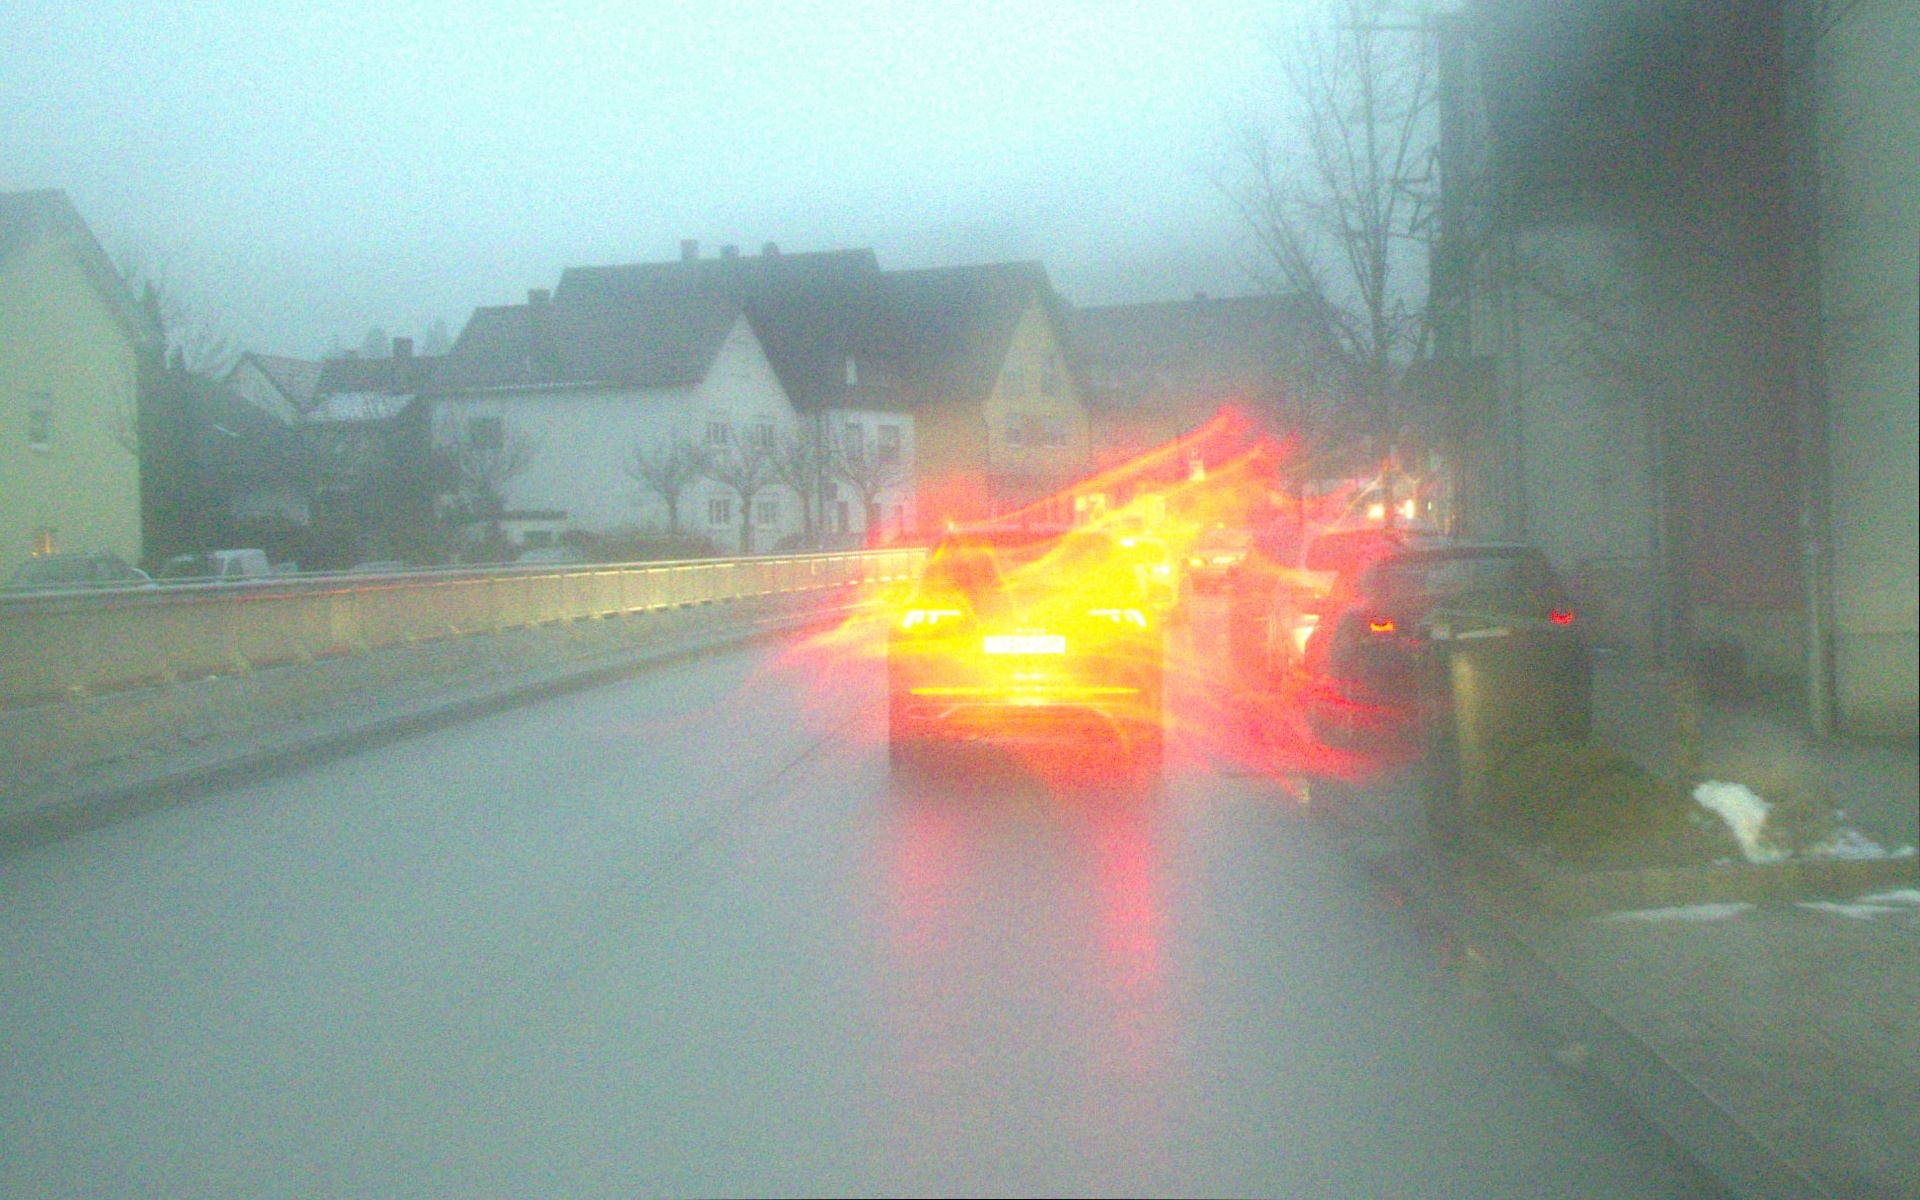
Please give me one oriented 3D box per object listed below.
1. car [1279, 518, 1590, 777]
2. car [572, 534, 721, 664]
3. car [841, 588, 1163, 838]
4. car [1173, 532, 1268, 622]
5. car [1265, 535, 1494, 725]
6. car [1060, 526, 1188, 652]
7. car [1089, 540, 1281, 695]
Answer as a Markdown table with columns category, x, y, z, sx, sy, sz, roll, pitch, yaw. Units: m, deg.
| category | x | y | z | sx | sy | sz | roll | pitch | yaw |
| --- | --- | --- | --- | --- | --- | --- | --- | --- | --- |
| car | 3.338 | 0.292 | 24.797 | 1.994 | 1.664 | 3.999 | -2 | 1 | 6 |
| car | -5.047 | -0.011 | 55.773 | 1.993 | 2.007 | 4.000 | -1 | 0 | 0 |
| car | 0.324 | 0.705 | 23.610 | 1.993 | 1.520 | 4.000 | -1 | 0 | 2 |
| car | 6.101 | -0.512 | 80.153 | 1.994 | 2.007 | 3.999 | -1 | 0 | 7 |
| car | 3.994 | 0.250 | 32.665 | 1.994 | 1.664 | 3.999 | -1 | 1 | 7 |
| car | 2.787 | -0.180 | 57.655 | 1.994 | 2.007 | 3.999 | -1 | 0 | 5 |
| car | 2.499 | 0.162 | 39.124 | 1.993 | 1.674 | 4.000 | 0 | 1 | 1 |
